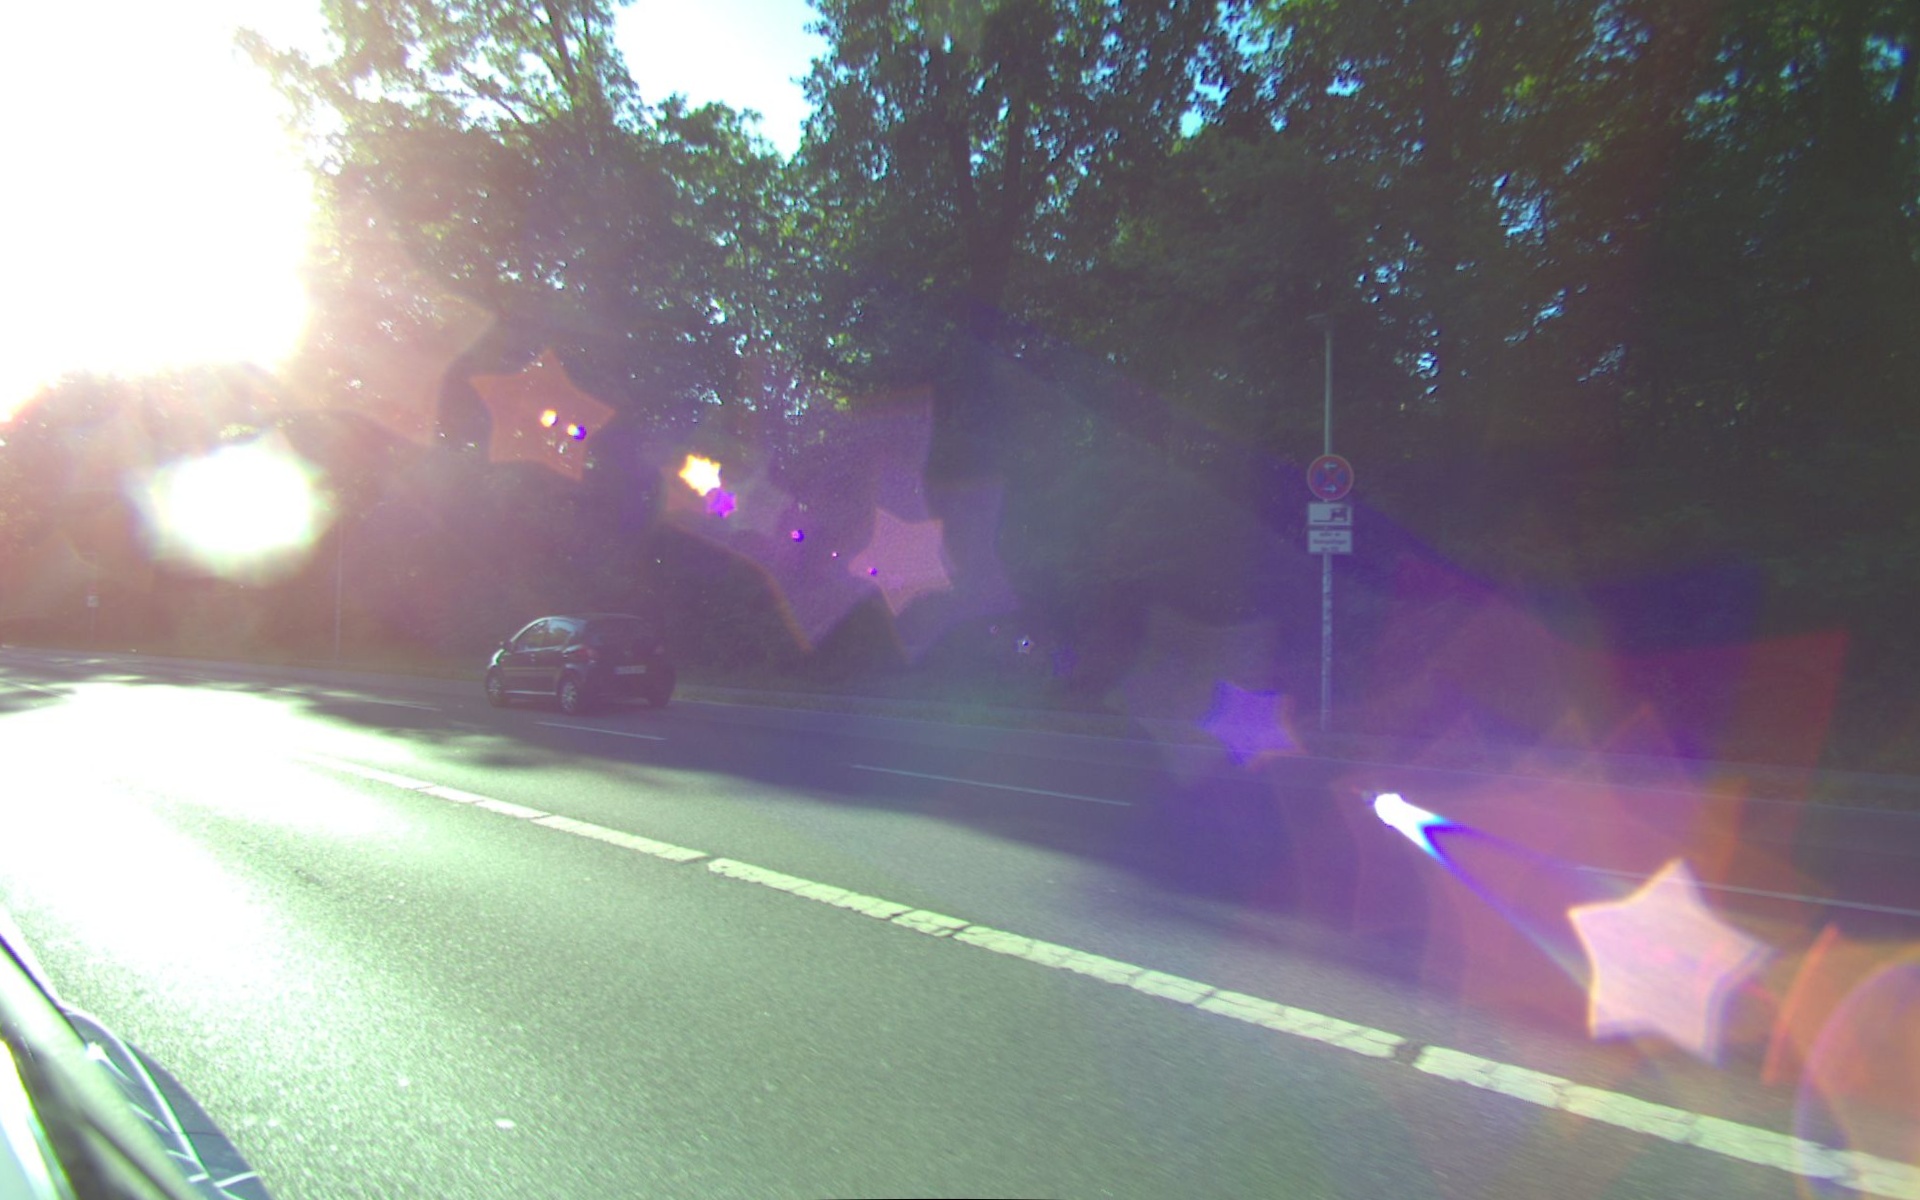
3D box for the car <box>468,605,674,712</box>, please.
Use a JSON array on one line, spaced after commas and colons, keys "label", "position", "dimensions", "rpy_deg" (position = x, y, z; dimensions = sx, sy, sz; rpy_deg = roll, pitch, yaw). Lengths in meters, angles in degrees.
[{"label": "car", "position": [-6.073, 0.842, 15.631], "dimensions": [3.498, 1.455, 1.480], "rpy_deg": [-2, -1, 41]}]
